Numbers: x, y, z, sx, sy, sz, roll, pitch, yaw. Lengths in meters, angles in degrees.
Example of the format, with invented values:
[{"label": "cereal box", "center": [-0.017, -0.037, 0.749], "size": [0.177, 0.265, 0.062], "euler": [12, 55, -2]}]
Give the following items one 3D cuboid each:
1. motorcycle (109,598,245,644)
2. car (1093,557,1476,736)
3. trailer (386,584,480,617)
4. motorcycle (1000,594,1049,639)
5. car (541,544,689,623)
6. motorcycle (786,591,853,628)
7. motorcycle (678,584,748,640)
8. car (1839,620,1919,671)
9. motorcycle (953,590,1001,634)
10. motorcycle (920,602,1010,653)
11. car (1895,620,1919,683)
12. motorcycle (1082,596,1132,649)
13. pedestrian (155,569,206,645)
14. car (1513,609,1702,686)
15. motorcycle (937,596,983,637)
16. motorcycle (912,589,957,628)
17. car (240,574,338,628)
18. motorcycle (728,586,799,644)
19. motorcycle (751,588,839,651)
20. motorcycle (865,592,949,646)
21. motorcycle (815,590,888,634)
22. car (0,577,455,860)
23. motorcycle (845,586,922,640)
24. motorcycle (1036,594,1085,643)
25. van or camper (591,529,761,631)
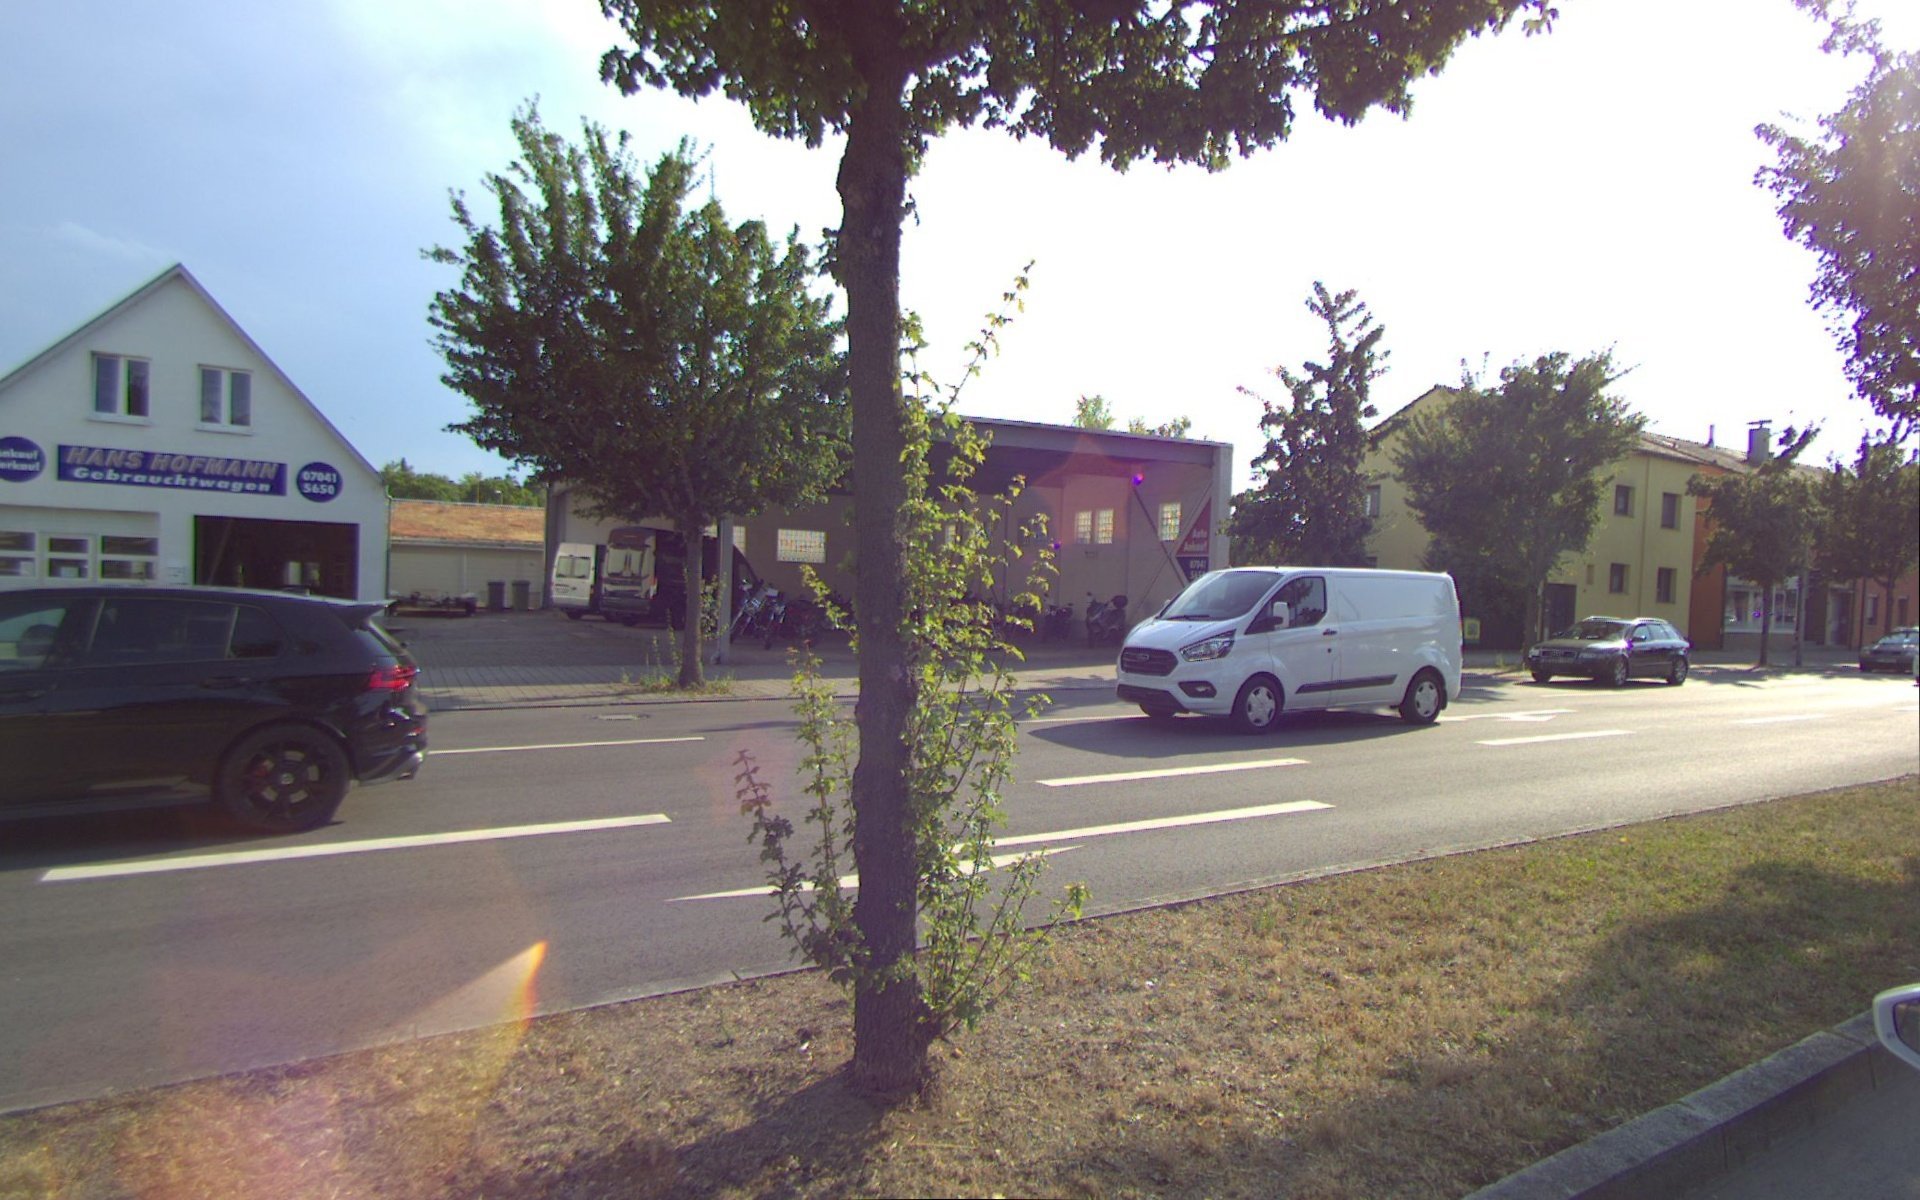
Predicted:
[{"label": "motorcycle", "center": [-16.529, 0.453, 21.263], "size": [2.182, 0.932, 0.504], "euler": [1, 0, -28]}, {"label": "car", "center": [4.252, 0.555, 12.931], "size": [4.884, 1.949, 1.815], "euler": [1, 0, -29]}, {"label": "trailer", "center": [-16.970, 0.012, 32.271], "size": [2.425, 0.836, 3.163], "euler": [1, 2, -33]}, {"label": "motorcycle", "center": [1.970, 0.489, 30.570], "size": [0.612, 1.325, 2.086], "euler": [2, 0, 30]}, {"label": "car", "center": [-10.820, -0.485, 31.871], "size": [2.158, 2.279, 4.386], "euler": [2, 0, 19]}, {"label": "motorcycle", "center": [-4.593, 0.314, 32.925], "size": [2.112, 1.138, 0.563], "euler": [2, 1, 0]}, {"label": "motorcycle", "center": [-6.217, 0.296, 25.434], "size": [0.637, 1.329, 2.007], "euler": [2, 0, 22]}, {"label": "car", "center": [30.182, 1.446, 32.145], "size": [4.656, 1.482, 1.678], "euler": [1, 0, -31]}, {"label": "motorcycle", "center": [0.557, 0.387, 31.706], "size": [0.573, 1.325, 2.086], "euler": [2, 0, 30]}, {"label": "motorcycle", "center": [0.128, 0.652, 24.250], "size": [2.112, 1.139, 0.631], "euler": [2, 0, 0]}, {"label": "car", "center": [25.283, 1.312, 25.096], "size": [3.910, 1.517, 1.792], "euler": [1, 0, -31]}, {"label": "motorcycle", "center": [3.900, 0.589, 26.532], "size": [0.553, 1.325, 2.112], "euler": [2, 0, 30]}, {"label": "pedestrian", "center": [-16.142, 0.150, 20.816], "size": [0.664, 1.543, 0.650], "euler": [1, 1, -23]}, {"label": "car", "center": [14.310, 1.014, 22.169], "size": [4.196, 1.517, 1.798], "euler": [1, 0, -30]}, {"label": "motorcycle", "center": [0.021, 0.544, 33.993], "size": [0.553, 1.325, 2.086], "euler": [2, 0, 30]}, {"label": "motorcycle", "center": [-0.880, 0.289, 35.444], "size": [0.553, 1.325, 2.086], "euler": [2, 0, 30]}, {"label": "car", "center": [-19.189, 0.004, 28.883], "size": [1.863, 1.403, 4.054], "euler": [1, 0, -28]}, {"label": "motorcycle", "center": [-4.678, 0.345, 24.066], "size": [0.637, 1.329, 2.007], "euler": [2, 0, 22]}, {"label": "motorcycle", "center": [-3.641, 0.431, 22.323], "size": [0.659, 1.329, 2.000], "euler": [2, 0, 36]}, {"label": "motorcycle", "center": [-1.376, 0.490, 26.301], "size": [2.112, 1.347, 0.563], "euler": [2, 1, 0]}, {"label": "motorcycle", "center": [-3.305, 0.363, 30.711], "size": [2.112, 1.275, 0.647], "euler": [2, 1, 0]}, {"label": "car", "center": [-5.371, 0.611, 6.026], "size": [4.061, 1.470, 1.760], "euler": [1, 0, -31]}, {"label": "motorcycle", "center": [-2.157, 0.367, 28.522], "size": [2.112, 1.468, 0.594], "euler": [2, 1, 0]}, {"label": "motorcycle", "center": [2.846, 0.523, 28.364], "size": [0.553, 1.325, 2.086], "euler": [2, 0, 30]}, {"label": "van or camper", "center": [-8.127, -0.532, 29.295], "size": [1.962, 2.716, 5.035], "euler": [2, 0, 24]}]
